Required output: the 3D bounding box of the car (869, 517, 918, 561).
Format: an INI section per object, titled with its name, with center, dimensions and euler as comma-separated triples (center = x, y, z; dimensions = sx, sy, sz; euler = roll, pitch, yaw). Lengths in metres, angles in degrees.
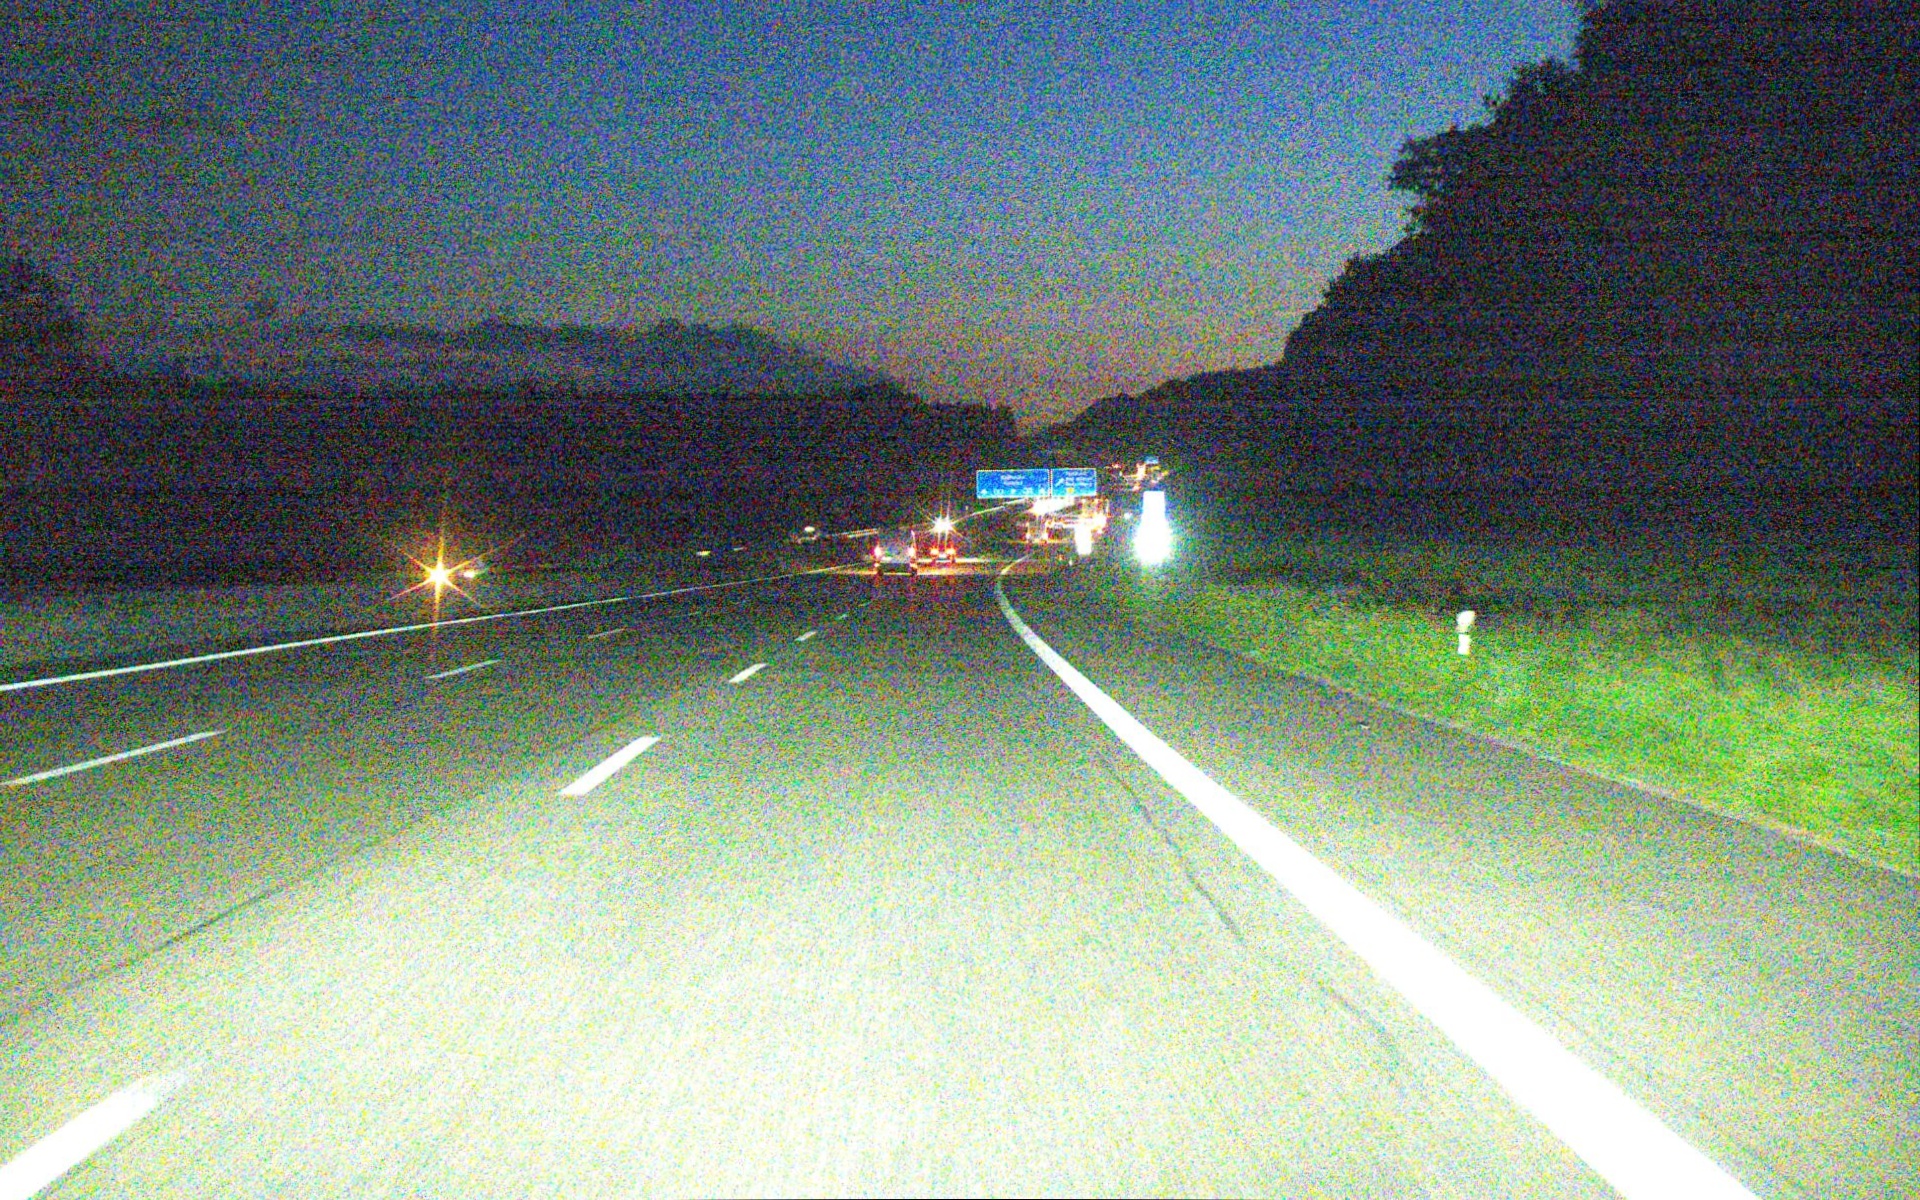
[car]
center = -3.521, -3.245, 183.290
dimensions = 2.511, 2.306, 4.971
euler = 0, 1, 0
